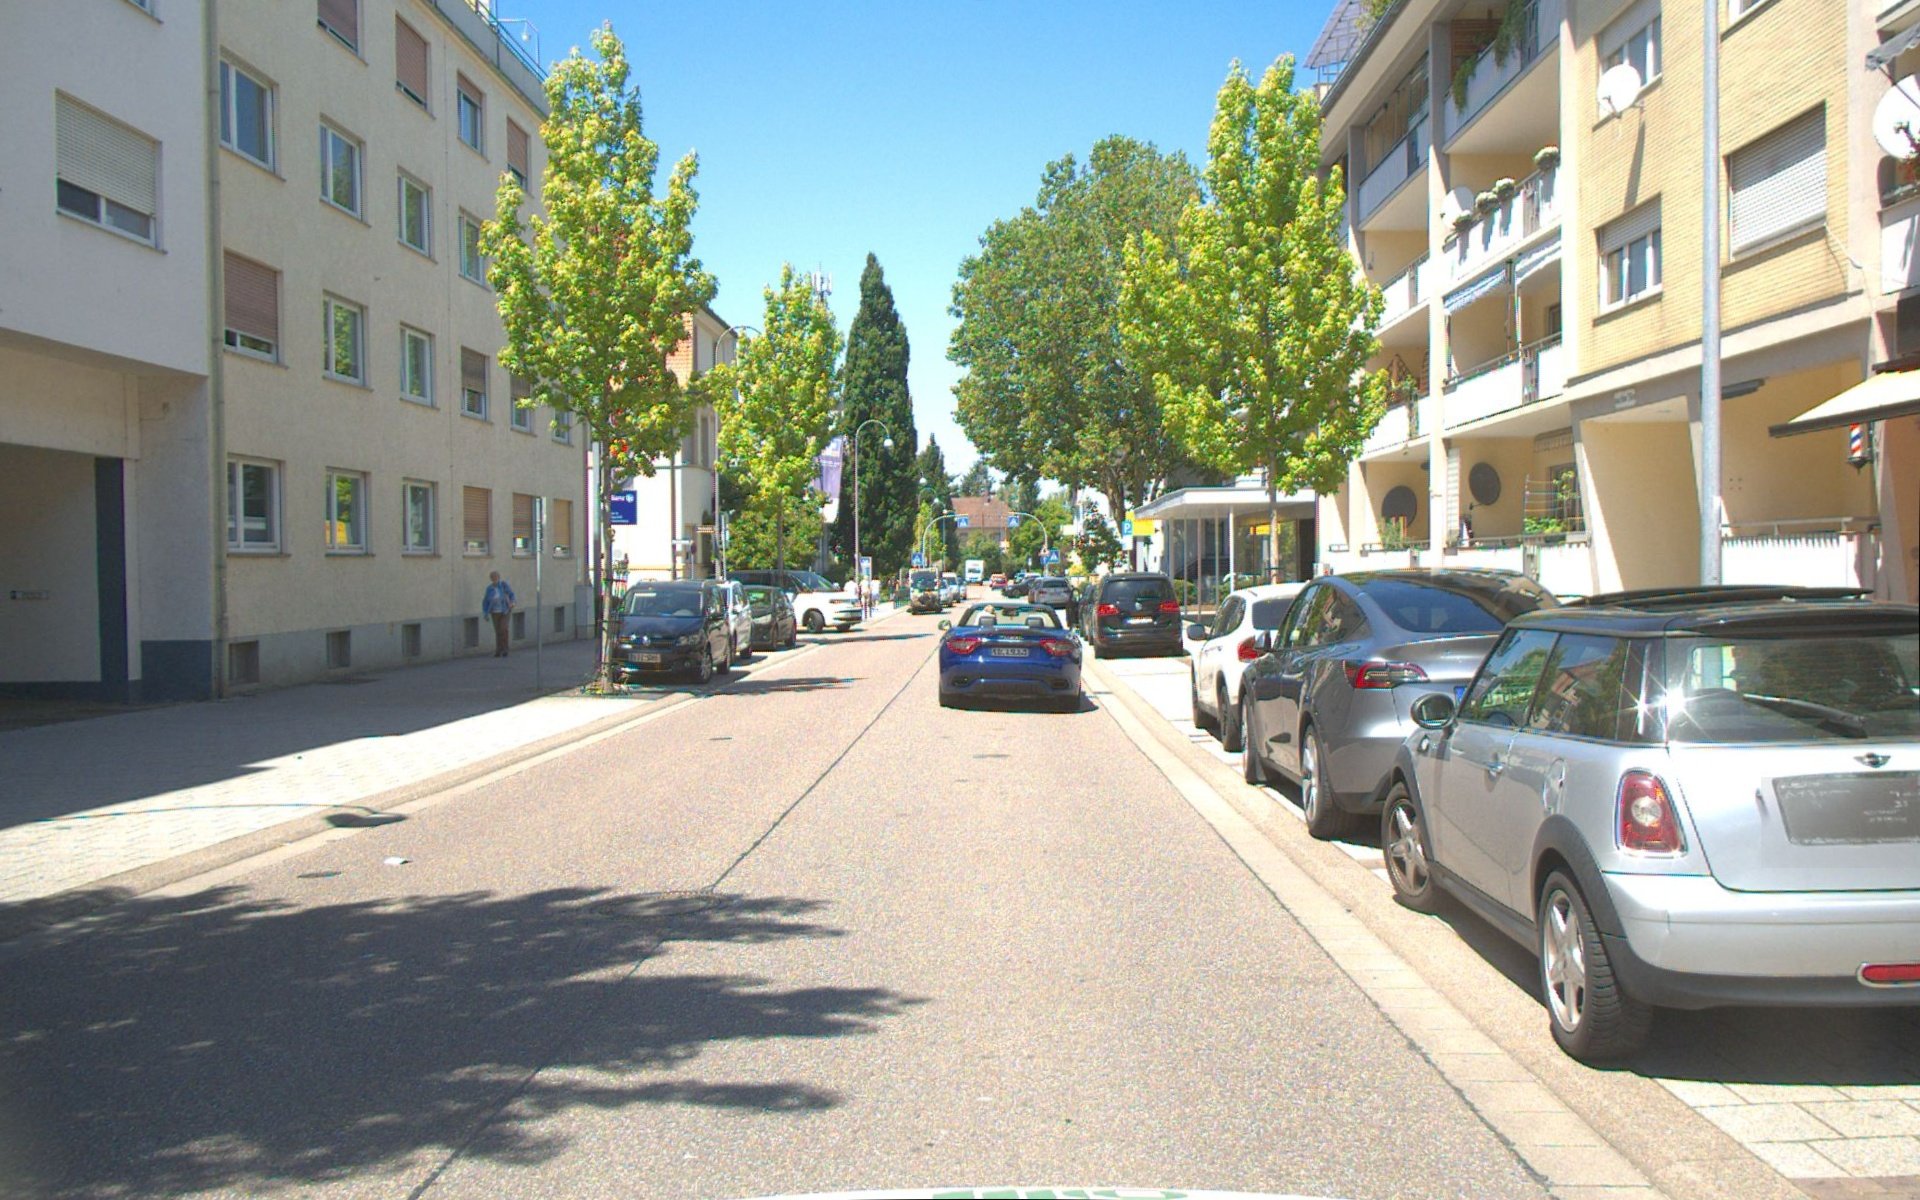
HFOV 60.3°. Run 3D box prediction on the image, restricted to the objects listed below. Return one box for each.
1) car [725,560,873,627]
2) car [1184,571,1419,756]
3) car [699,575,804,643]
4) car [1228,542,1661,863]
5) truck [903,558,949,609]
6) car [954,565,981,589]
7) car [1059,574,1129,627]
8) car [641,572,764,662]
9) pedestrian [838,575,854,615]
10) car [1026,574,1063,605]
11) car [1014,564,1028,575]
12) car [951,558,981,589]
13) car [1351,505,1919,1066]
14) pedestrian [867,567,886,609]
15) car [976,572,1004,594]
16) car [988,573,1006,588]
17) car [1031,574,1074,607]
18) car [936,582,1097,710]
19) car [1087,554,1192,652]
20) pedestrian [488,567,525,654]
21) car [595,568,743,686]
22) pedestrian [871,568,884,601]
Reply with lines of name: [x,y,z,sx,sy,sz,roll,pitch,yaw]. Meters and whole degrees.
car: [-5.079,-0.188,51.679,4.821,1.956,1.900,-1,1,44]
car: [3.337,0.544,16.913,1.686,1.611,4.227,-2,1,3]
car: [-4.981,0.173,39.996,1.717,1.499,4.323,1,1,3]
car: [3.066,0.536,11.530,1.727,1.735,4.707,-2,1,2]
truck: [-1.475,-0.770,73.651,1.767,2.154,4.716,-2,1,1]
car: [0.495,-1.563,111.620,1.733,1.502,4.138,-2,1,1]
car: [3.882,-0.012,48.409,1.807,1.439,4.164,-2,0,2]
car: [-5.179,0.285,33.793,1.787,1.647,4.393,1,1,0]
pedestrian: [-4.252,-0.192,61.806,0.568,1.500,0.563,0,1,-6]
car: [4.790,-0.597,94.011,1.935,1.583,4.351,-2,2,1]
car: [8.744,-4.380,236.584,1.910,1.502,4.139,-2,1,3]
car: [0.338,-1.623,100.496,1.733,1.798,4.138,-2,2,0]
car: [2.782,0.501,6.628,1.589,1.586,3.841,-1,1,1]
pedestrian: [-4.073,-0.588,80.748,0.832,1.948,0.761,-2,3,-3]
car: [2.119,-1.207,117.009,1.910,1.502,4.138,-2,1,1]
car: [3.610,-1.939,163.367,1.733,1.502,4.138,0,0,1]
car: [4.544,-0.499,81.764,1.935,1.475,4.351,-2,2,1]
car: [0.725,0.538,22.646,1.935,1.422,4.628,2,2,1]
car: [3.738,0.005,35.170,1.952,1.829,4.572,-1,2,3]
pedestrian: [-9.251,0.204,33.747,0.645,1.709,0.629,-2,3,-16]
car: [-4.874,0.389,28.276,1.693,1.770,4.393,3,1,0]
pedestrian: [-4.029,-0.755,80.751,0.575,1.602,0.781,0,1,0]
